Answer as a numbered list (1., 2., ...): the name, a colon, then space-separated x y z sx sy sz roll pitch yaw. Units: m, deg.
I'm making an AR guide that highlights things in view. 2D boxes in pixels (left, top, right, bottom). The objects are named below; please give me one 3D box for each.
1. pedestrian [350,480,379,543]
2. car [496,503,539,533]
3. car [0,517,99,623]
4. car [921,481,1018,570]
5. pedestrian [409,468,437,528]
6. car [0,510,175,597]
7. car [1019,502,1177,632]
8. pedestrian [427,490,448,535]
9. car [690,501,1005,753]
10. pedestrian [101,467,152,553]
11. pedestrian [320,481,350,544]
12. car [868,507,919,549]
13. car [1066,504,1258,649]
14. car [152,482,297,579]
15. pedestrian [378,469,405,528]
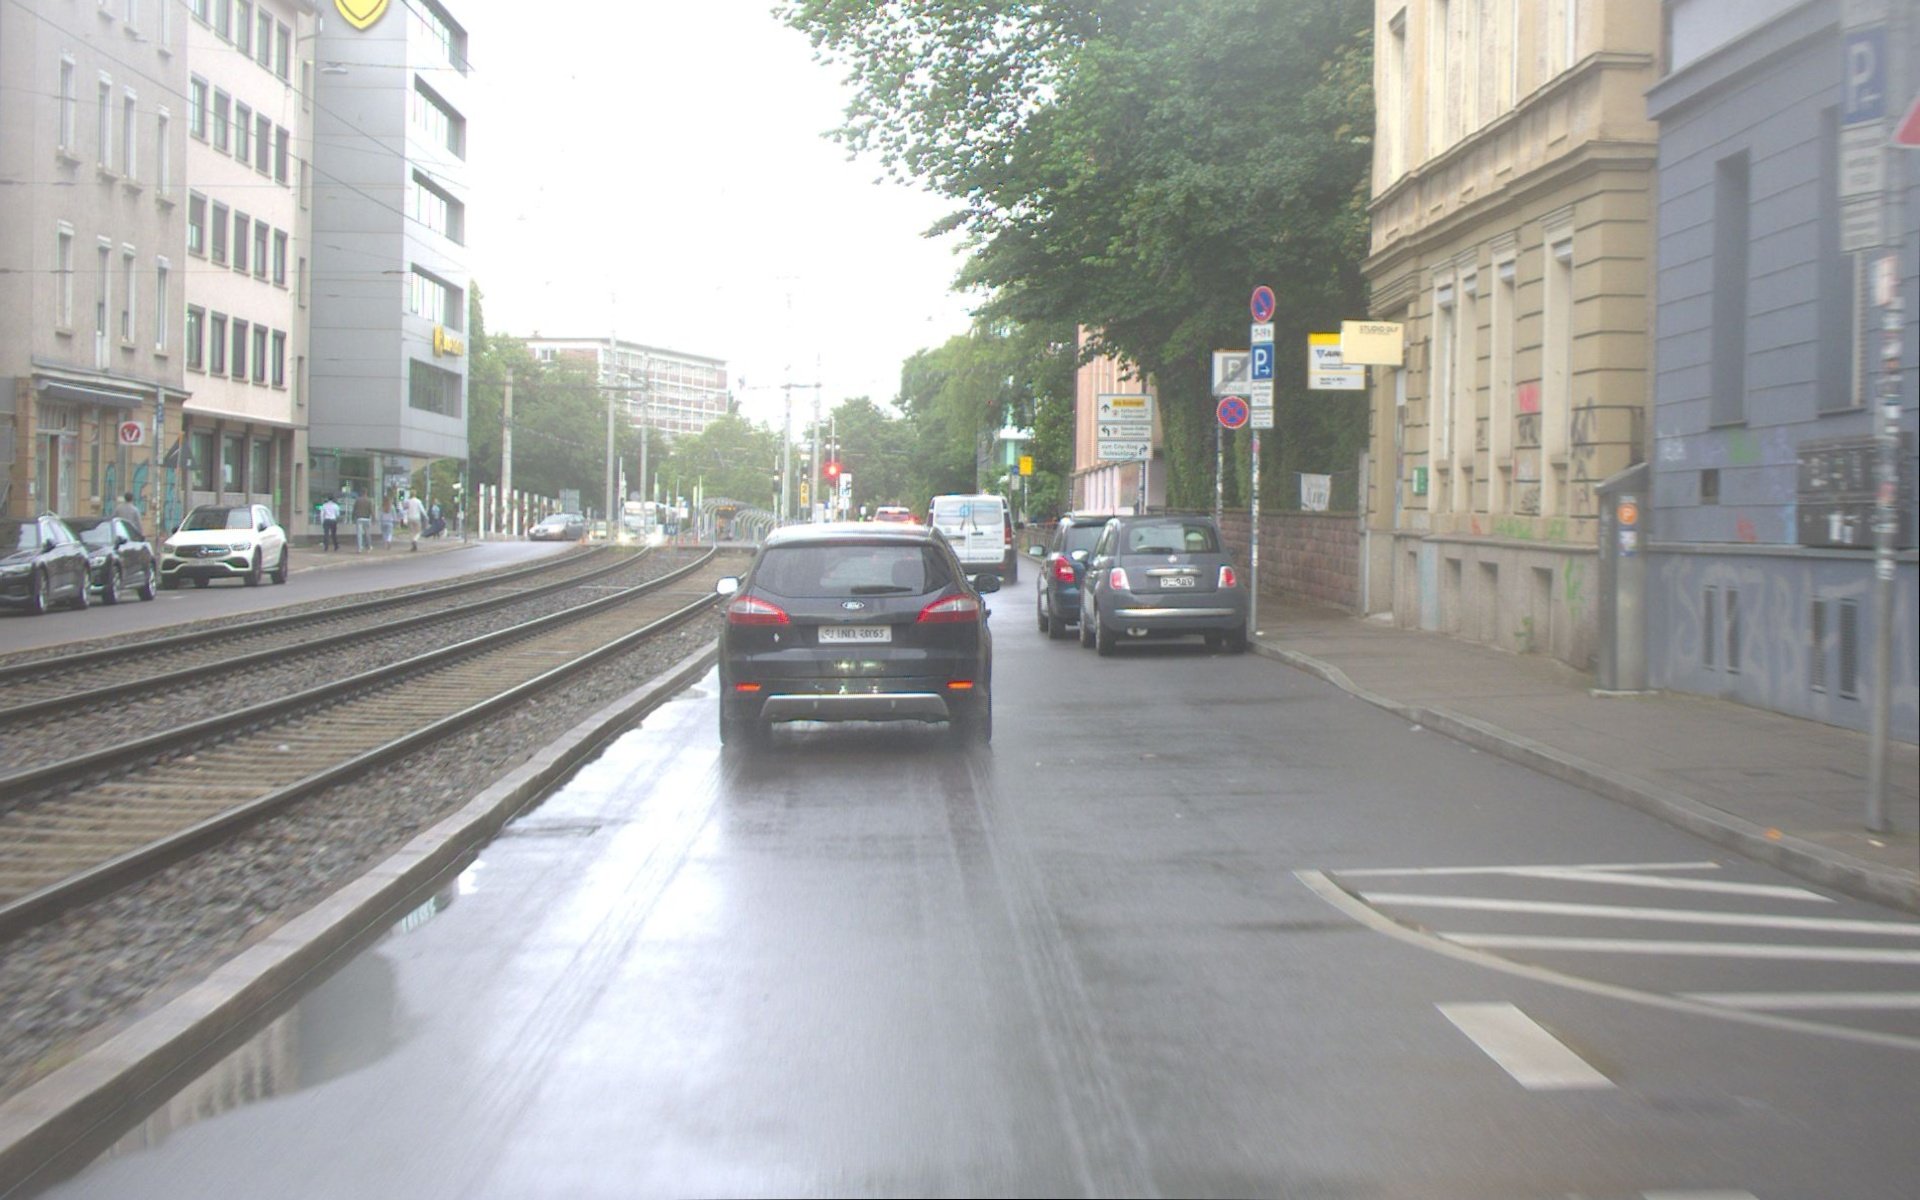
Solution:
1. pedestrian: -17.792 -2.645 102.692 0.744 1.847 0.839 0 0 -2
2. car: -22.119 -4.096 171.604 1.993 1.437 4.001 1 2 -9
3. car: -14.470 -0.491 51.524 1.993 1.514 4.676 1 1 -1
4. car: 0.182 -1.562 73.214 1.993 1.810 4.271 0 0 0
5. pedestrian: -17.052 -3.237 109.162 0.744 1.847 0.839 0 0 -2
6. car: -14.719 -0.797 58.065 1.993 1.371 4.238 1 1 -1
7. car: 1.662 -0.445 42.495 1.642 1.510 4.039 1 2 -2
8. pedestrian: -21.755 -3.627 143.207 0.744 1.847 0.839 0 0 -2
9. car: -0.731 0.166 23.975 1.993 1.588 4.271 0 0 0
10. pedestrian: -17.150 -1.848 70.770 0.801 1.744 0.984 1 1 -2
11. pedestrian: -18.657 -2.610 102.585 0.744 1.847 0.839 0 0 -2
12. car: -2.630 -2.855 136.904 1.993 1.588 4.271 0 0 0
13. car: 2.174 -0.305 37.951 1.738 1.484 4.001 1 2 -2
14. car: -14.787 -1.393 69.392 1.993 1.833 5.071 1 1 -2
15. pedestrian: -18.008 -3.222 108.896 0.744 1.847 0.839 0 0 -2
